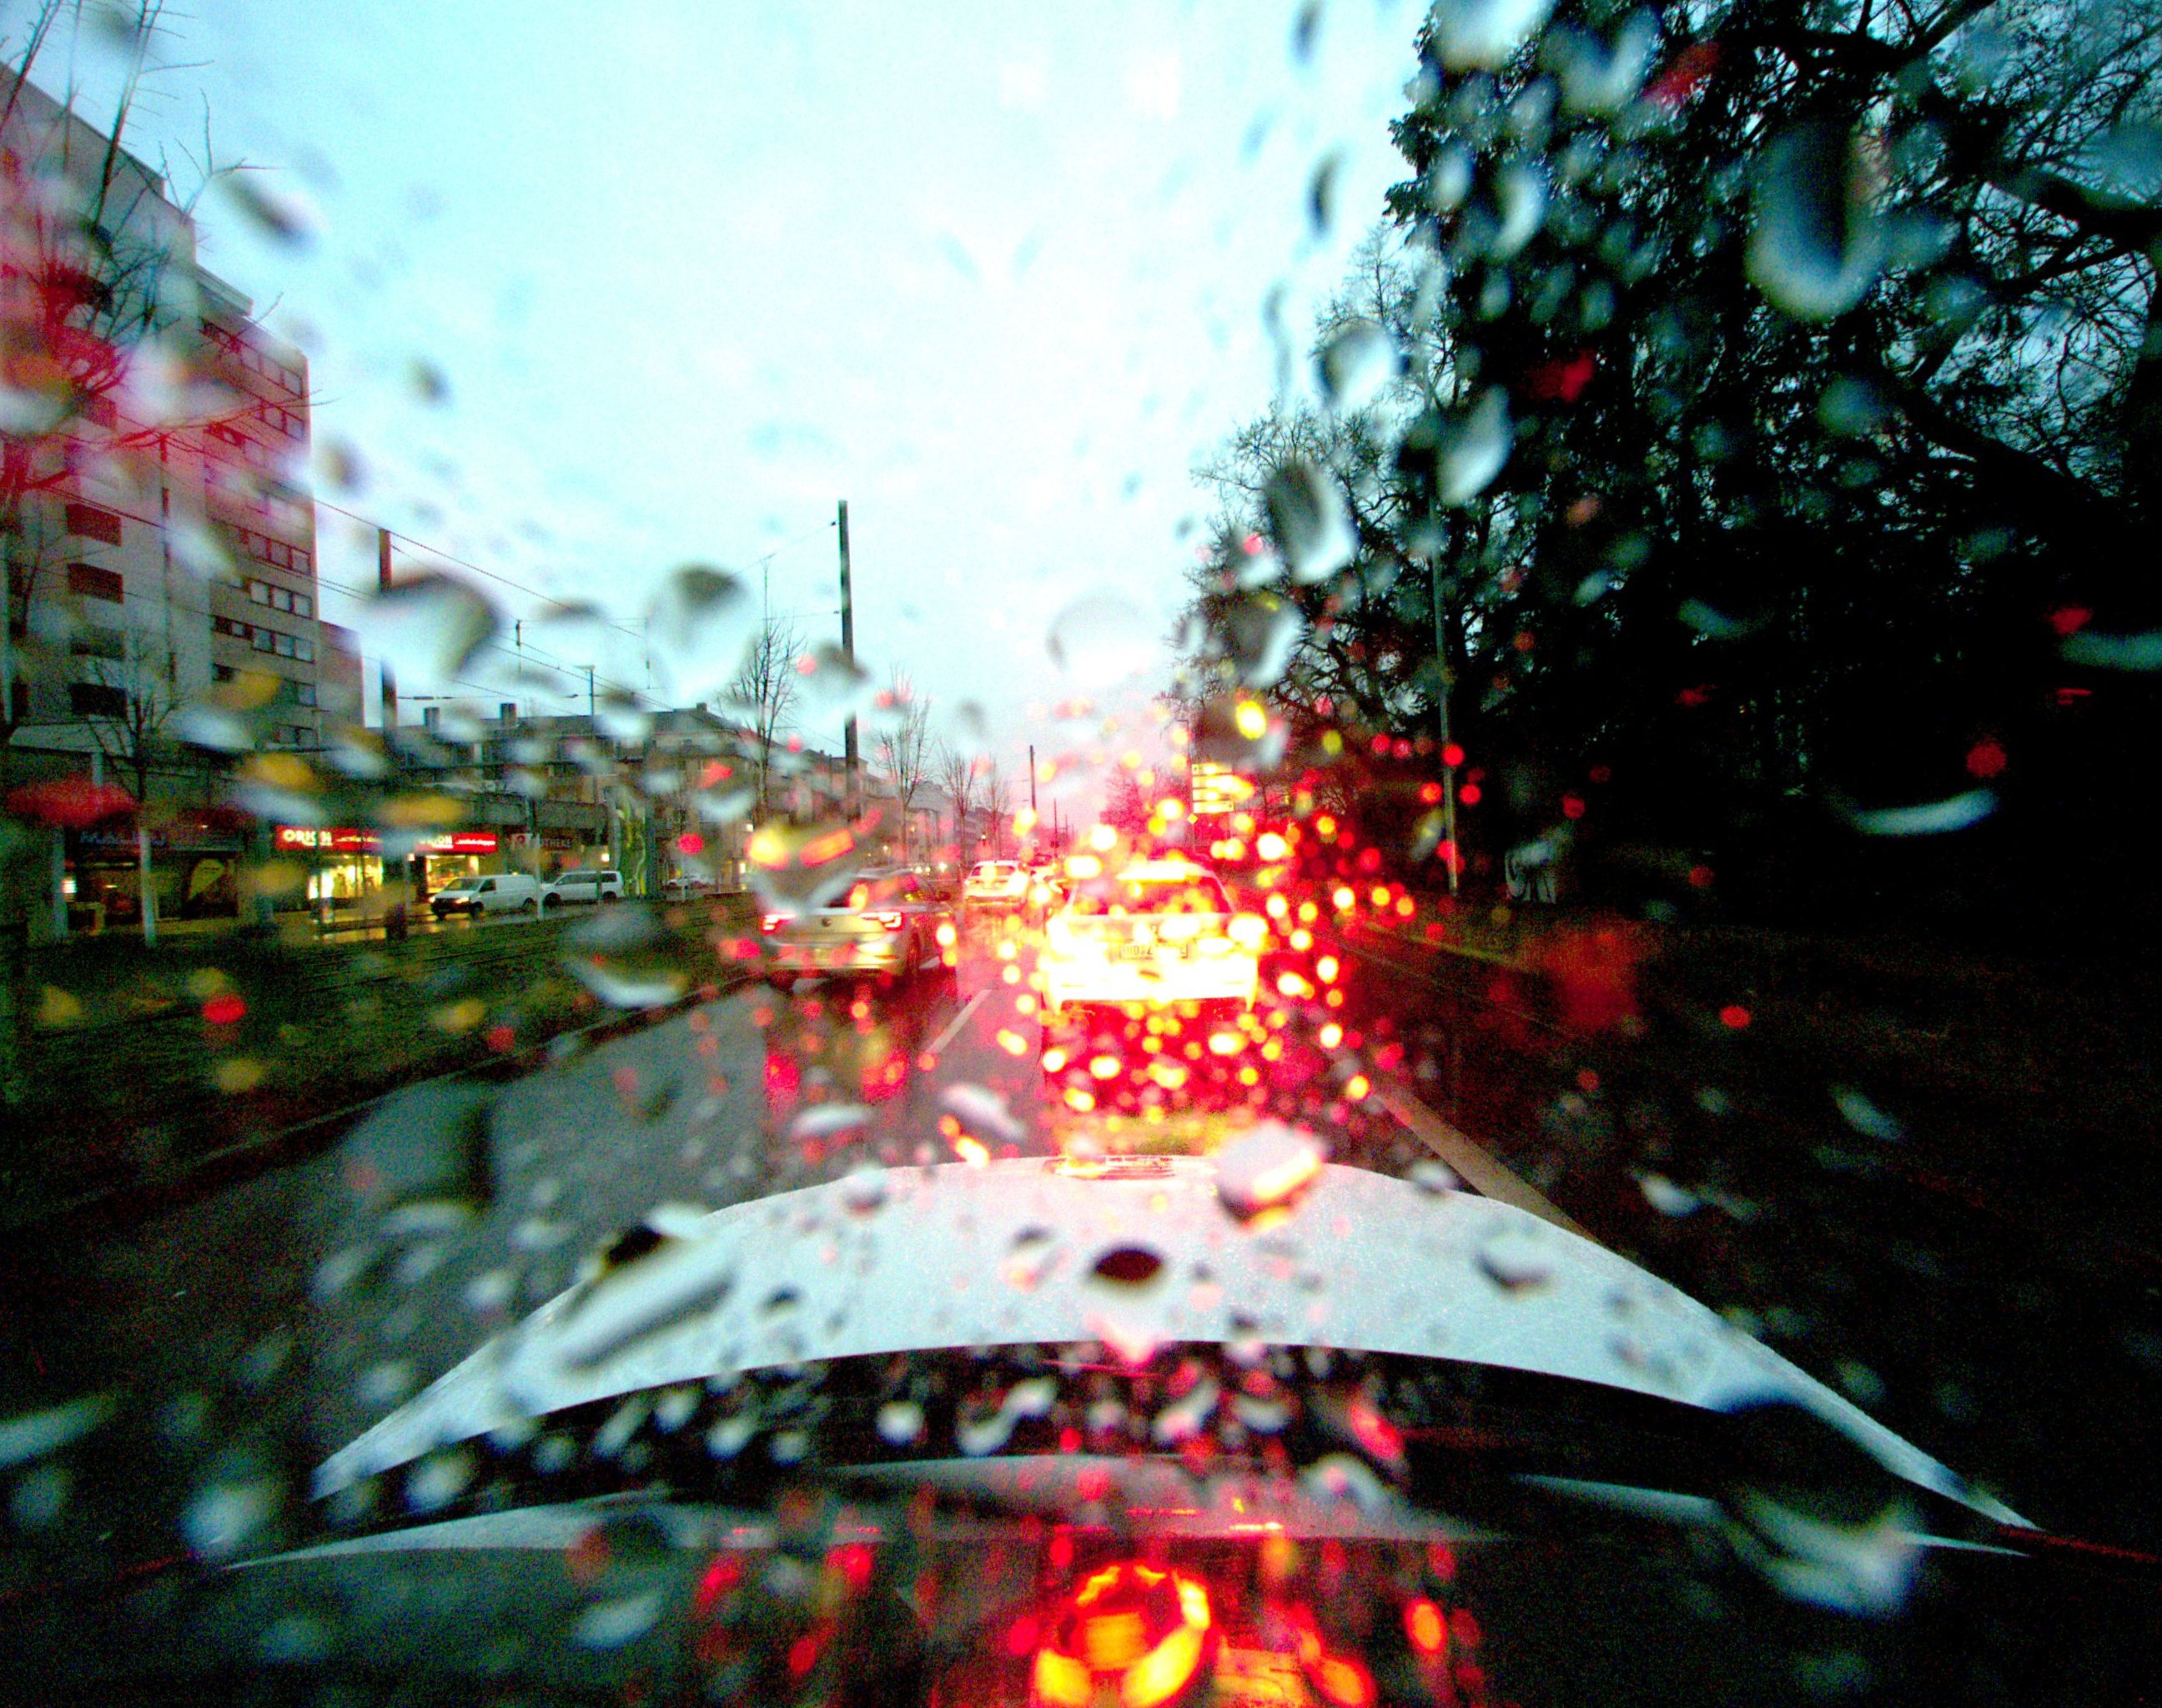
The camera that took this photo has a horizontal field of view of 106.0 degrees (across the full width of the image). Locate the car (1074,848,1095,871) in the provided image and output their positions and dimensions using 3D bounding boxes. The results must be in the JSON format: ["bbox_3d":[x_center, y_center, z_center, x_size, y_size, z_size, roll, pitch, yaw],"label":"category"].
[{"bbox_3d":[0.234,0.402,60.280,1.501,1.653,2.843,0,-1,-2],"label":"car"}]

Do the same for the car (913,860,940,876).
[{"bbox_3d":[-16.133,1.478,85.315,1.987,1.602,4.000,0,-1,1],"label":"car"}]

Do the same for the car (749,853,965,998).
[{"bbox_3d":[-2.716,0.774,10.842,1.687,1.533,4.000,-1,0,1],"label":"car"}]

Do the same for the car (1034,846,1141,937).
[{"bbox_3d":[0.177,0.653,15.992,1.793,1.511,3.897,-2,0,2],"label":"car"}]

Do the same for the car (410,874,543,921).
[{"bbox_3d":[-29.707,2.093,40.332,1.983,2.046,5.575,0,-1,6],"label":"car"}]

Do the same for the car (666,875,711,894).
[{"bbox_3d":[-40.691,3.147,84.433,3.744,1.942,1.838,0,-1,-7],"label":"car"}]

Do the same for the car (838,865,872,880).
[{"bbox_3d":[-20.636,1.658,74.535,1.852,1.332,4.316,0,0,1],"label":"car"}]

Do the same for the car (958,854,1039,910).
[{"bbox_3d":[-2.390,0.763,24.755,1.792,1.466,4.587,-3,0,2],"label":"car"}]

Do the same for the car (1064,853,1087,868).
[{"bbox_3d":[-0.457,0.587,72.918,1.923,1.288,4.001,0,-1,1],"label":"car"}]

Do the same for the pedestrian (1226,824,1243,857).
[{"bbox_3d":[9.693,-0.840,51.438,0.954,2.013,1.009,-2,0,6],"label":"pedestrian"}]

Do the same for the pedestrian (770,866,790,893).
[{"bbox_3d":[-23.617,1.982,63.933,0.952,2.013,1.011,-2,0,11],"label":"pedestrian"}]

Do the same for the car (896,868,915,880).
[{"bbox_3d":[-21.406,2.427,99.493,1.688,1.277,4.141,-2,0,-4],"label":"car"}]

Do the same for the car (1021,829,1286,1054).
[{"bbox_3d":[0.604,0.633,8.374,1.855,1.556,4.940,-3,0,2],"label":"car"}]

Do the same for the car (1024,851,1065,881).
[{"bbox_3d":[-1.830,0.589,41.900,1.731,1.419,4.395,-3,0,2],"label":"car"}]

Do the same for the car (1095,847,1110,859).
[{"bbox_3d":[2.672,-0.119,102.067,1.731,1.419,4.147,-3,0,2],"label":"car"}]

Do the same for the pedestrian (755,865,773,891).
[{"bbox_3d":[-25.875,1.966,66.402,1.274,2.013,1.000,-2,0,-23],"label":"pedestrian"}]

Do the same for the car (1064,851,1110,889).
[{"bbox_3d":[0.301,0.636,33.852,1.731,1.419,3.704,-3,0,2],"label":"car"}]

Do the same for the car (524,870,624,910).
[{"bbox_3d":[-30.707,2.098,49.436,4.859,2.244,1.975,0,-1,-44],"label":"car"}]
